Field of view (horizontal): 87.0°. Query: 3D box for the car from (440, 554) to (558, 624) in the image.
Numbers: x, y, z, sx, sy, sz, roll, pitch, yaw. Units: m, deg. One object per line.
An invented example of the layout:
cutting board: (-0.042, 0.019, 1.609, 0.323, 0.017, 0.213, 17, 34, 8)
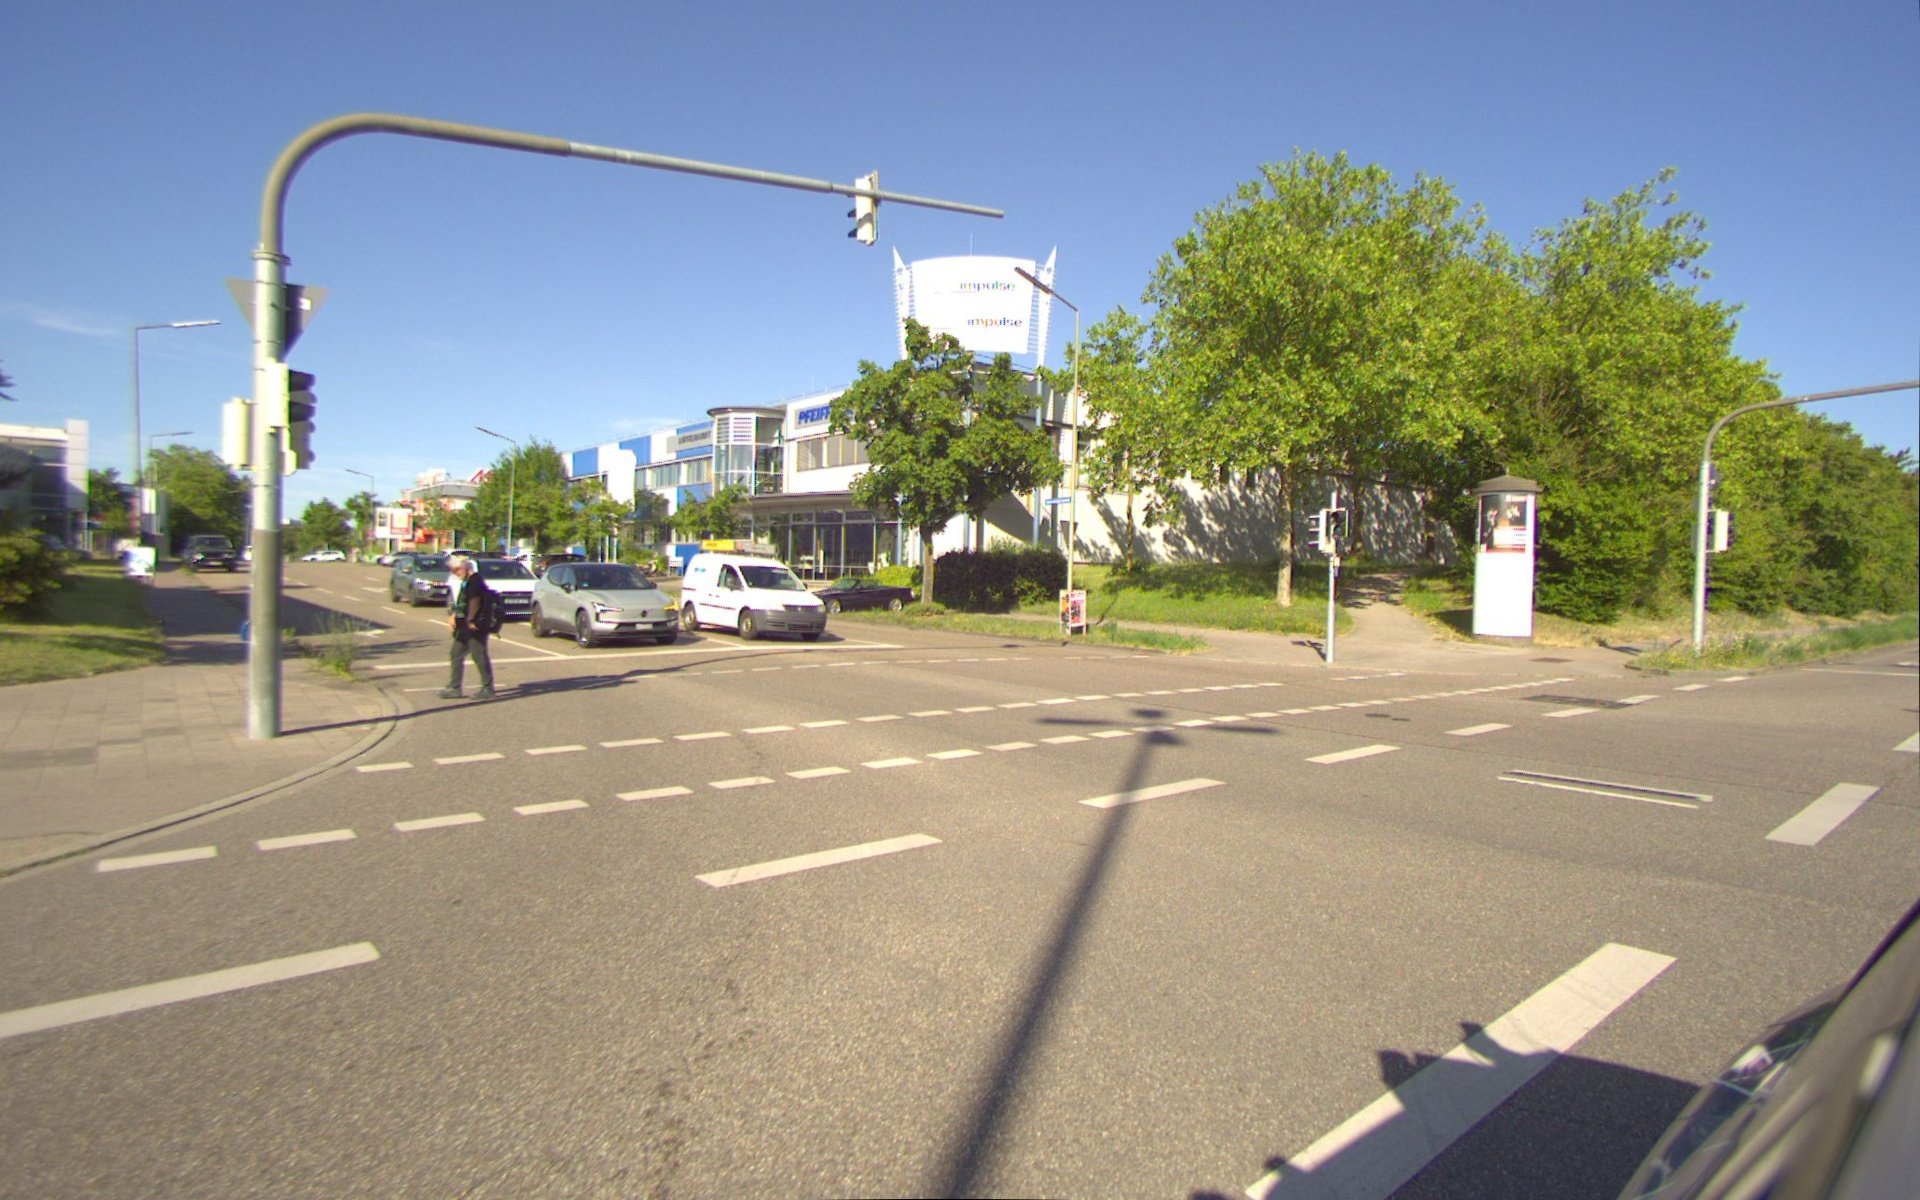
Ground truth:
car: (-11.747, -0.354, 25.664, 1.776, 1.609, 3.928, -2, 3, -39)

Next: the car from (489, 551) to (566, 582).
car: (-28.003, -2.152, 65.584, 4.286, 1.859, 1.720, 0, 2, -41)

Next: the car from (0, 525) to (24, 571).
car: (-33.971, -1.765, 33.764, 3.929, 1.505, 1.779, 0, 0, -40)

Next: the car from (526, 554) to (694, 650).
car: (-7.034, -0.058, 20.129, 1.868, 1.665, 4.101, -2, 3, -39)

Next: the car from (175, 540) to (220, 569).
car: (-45.503, -2.731, 60.450, 1.962, 1.663, 4.002, 0, 2, -34)

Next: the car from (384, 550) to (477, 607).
car: (-16.306, -0.705, 31.106, 1.776, 1.609, 3.928, -2, 3, -39)

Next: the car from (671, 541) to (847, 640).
car: (-4.549, -0.258, 22.378, 1.839, 1.958, 4.691, 0, 1, -39)

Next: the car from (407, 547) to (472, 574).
car: (-41.340, -3.102, 80.421, 4.286, 2.008, 1.720, 0, 1, -41)

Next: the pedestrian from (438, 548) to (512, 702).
pedestrian: (-5.712, 0.270, 11.918, 0.607, 1.737, 0.759, 0, 1, -40)

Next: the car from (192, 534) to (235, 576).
car: (-38.325, -2.274, 51.981, 1.706, 1.993, 3.998, 0, 0, -37)

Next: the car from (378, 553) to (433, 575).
car: (-49.458, -3.157, 90.282, 4.078, 1.874, 1.720, 0, 1, -41)

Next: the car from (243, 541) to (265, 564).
car: (-69.792, -4.677, 100.085, 1.671, 2.039, 4.002, 0, 0, -32)

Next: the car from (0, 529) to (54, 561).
car: (-45.171, -2.623, 48.820, 1.748, 1.381, 3.999, 0, 0, -35)

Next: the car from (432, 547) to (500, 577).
car: (-36.736, -2.805, 75.314, 4.286, 2.044, 1.720, 0, 2, -41)

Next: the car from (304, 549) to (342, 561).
car: (-80.434, -5.717, 127.745, 3.927, 1.381, 1.780, 0, 0, -38)

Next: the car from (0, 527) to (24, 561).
car: (-42.526, -2.444, 44.475, 1.775, 1.402, 3.928, 0, 2, -39)

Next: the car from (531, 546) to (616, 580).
car: (-22.297, -2.130, 58.475, 4.286, 1.859, 1.720, 0, 1, -41)

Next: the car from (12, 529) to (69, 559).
car: (-48.314, -2.925, 53.248, 1.748, 1.381, 3.999, 0, 0, -35)

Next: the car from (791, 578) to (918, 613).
car: (-3.654, -0.178, 35.620, 4.287, 1.137, 1.719, 0, 2, -42)
